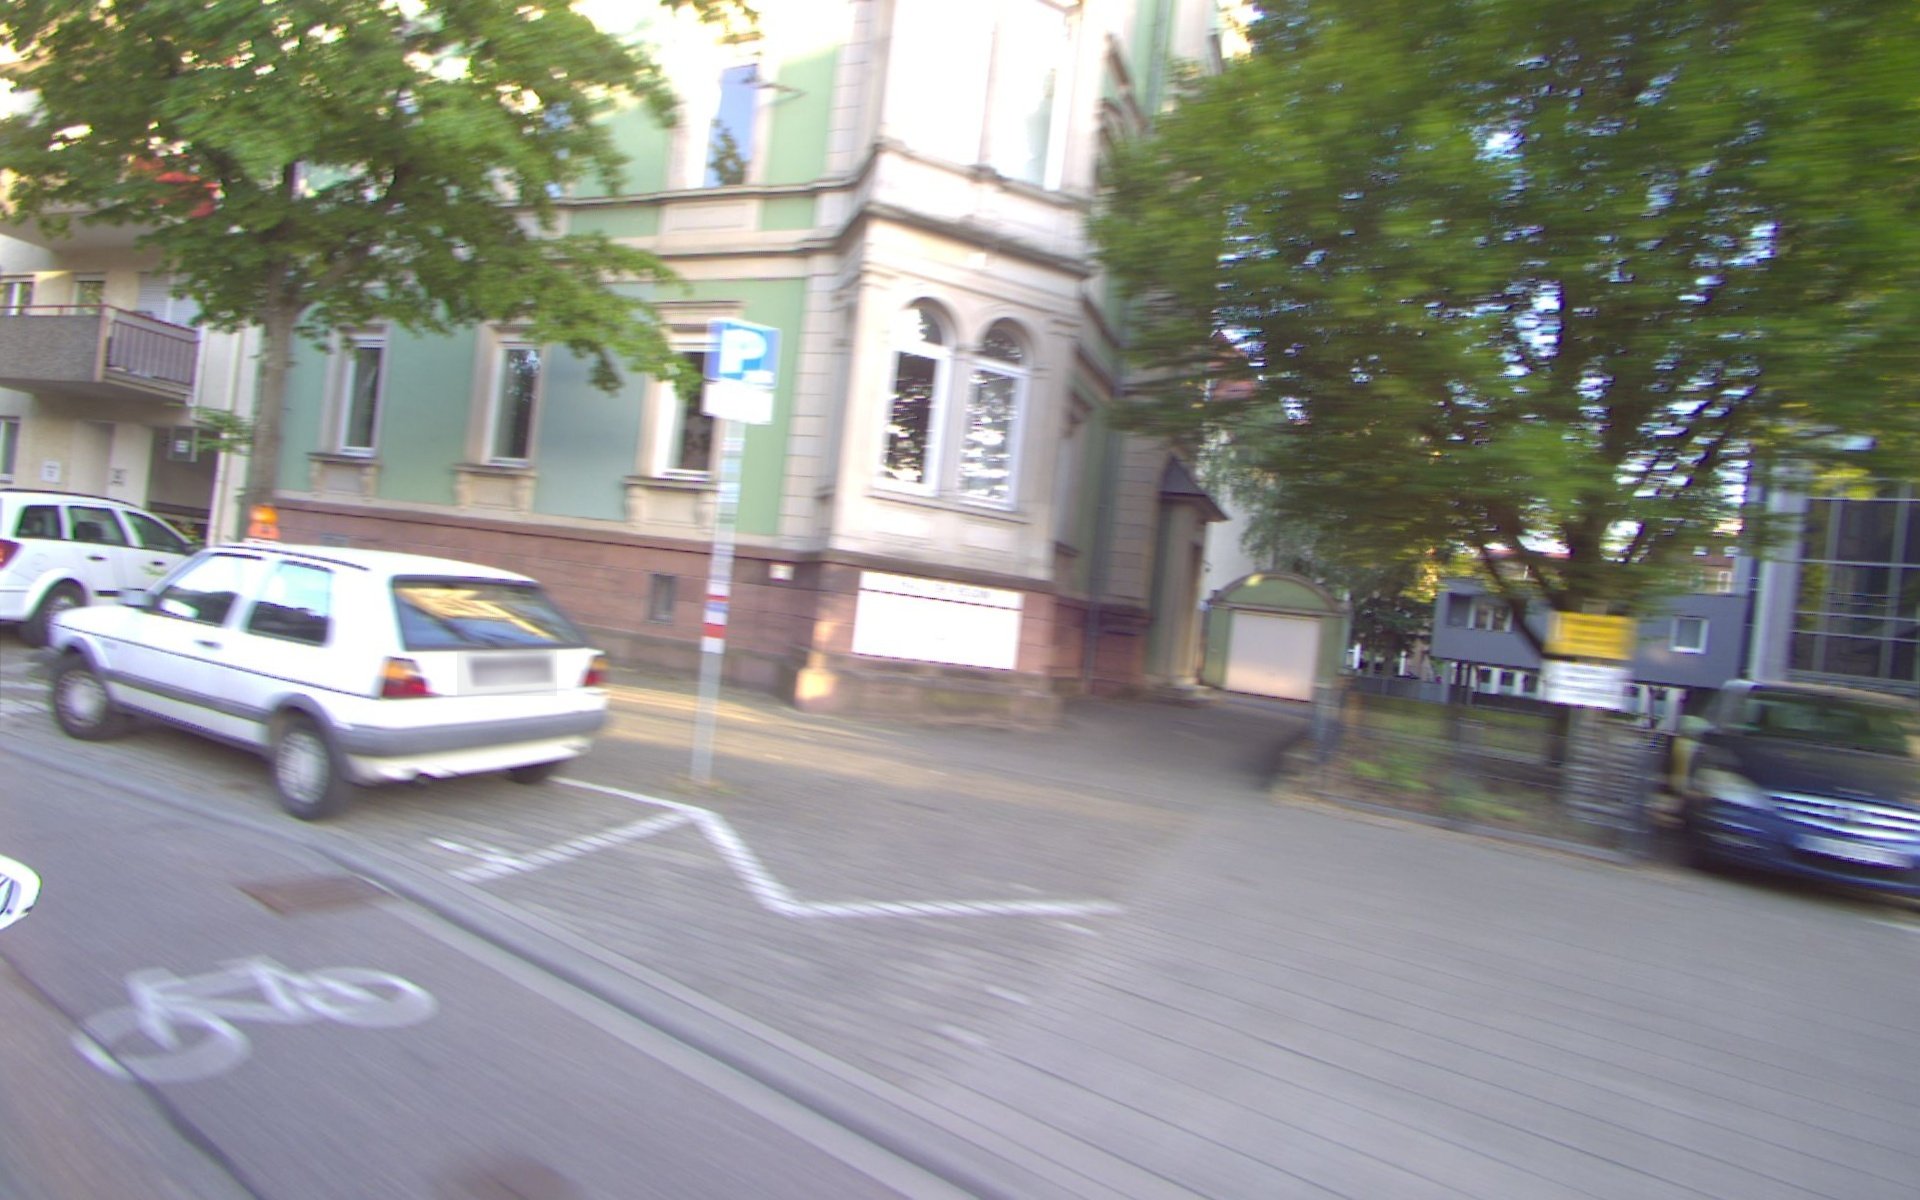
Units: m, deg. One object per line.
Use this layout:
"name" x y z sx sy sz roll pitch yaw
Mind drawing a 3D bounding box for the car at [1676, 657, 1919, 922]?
"car" 7.294 1.484 8.550 1.775 1.593 3.986 8 0 35

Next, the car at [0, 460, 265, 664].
"car" -9.415 -0.413 10.584 1.693 1.745 4.204 7 -1 -10

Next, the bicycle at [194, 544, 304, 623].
"bicycle" -11.541 -0.274 16.336 1.527 1.087 0.653 7 0 22

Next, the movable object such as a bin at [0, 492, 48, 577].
"movable object such as a bin" -18.336 -1.300 18.934 1.455 1.520 1.117 7 -1 22

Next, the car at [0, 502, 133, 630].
"car" -11.794 -0.489 11.300 1.616 1.471 4.209 7 -1 -4

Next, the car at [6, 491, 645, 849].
"car" -4.204 0.274 6.585 3.929 1.573 1.682 6 2 26
